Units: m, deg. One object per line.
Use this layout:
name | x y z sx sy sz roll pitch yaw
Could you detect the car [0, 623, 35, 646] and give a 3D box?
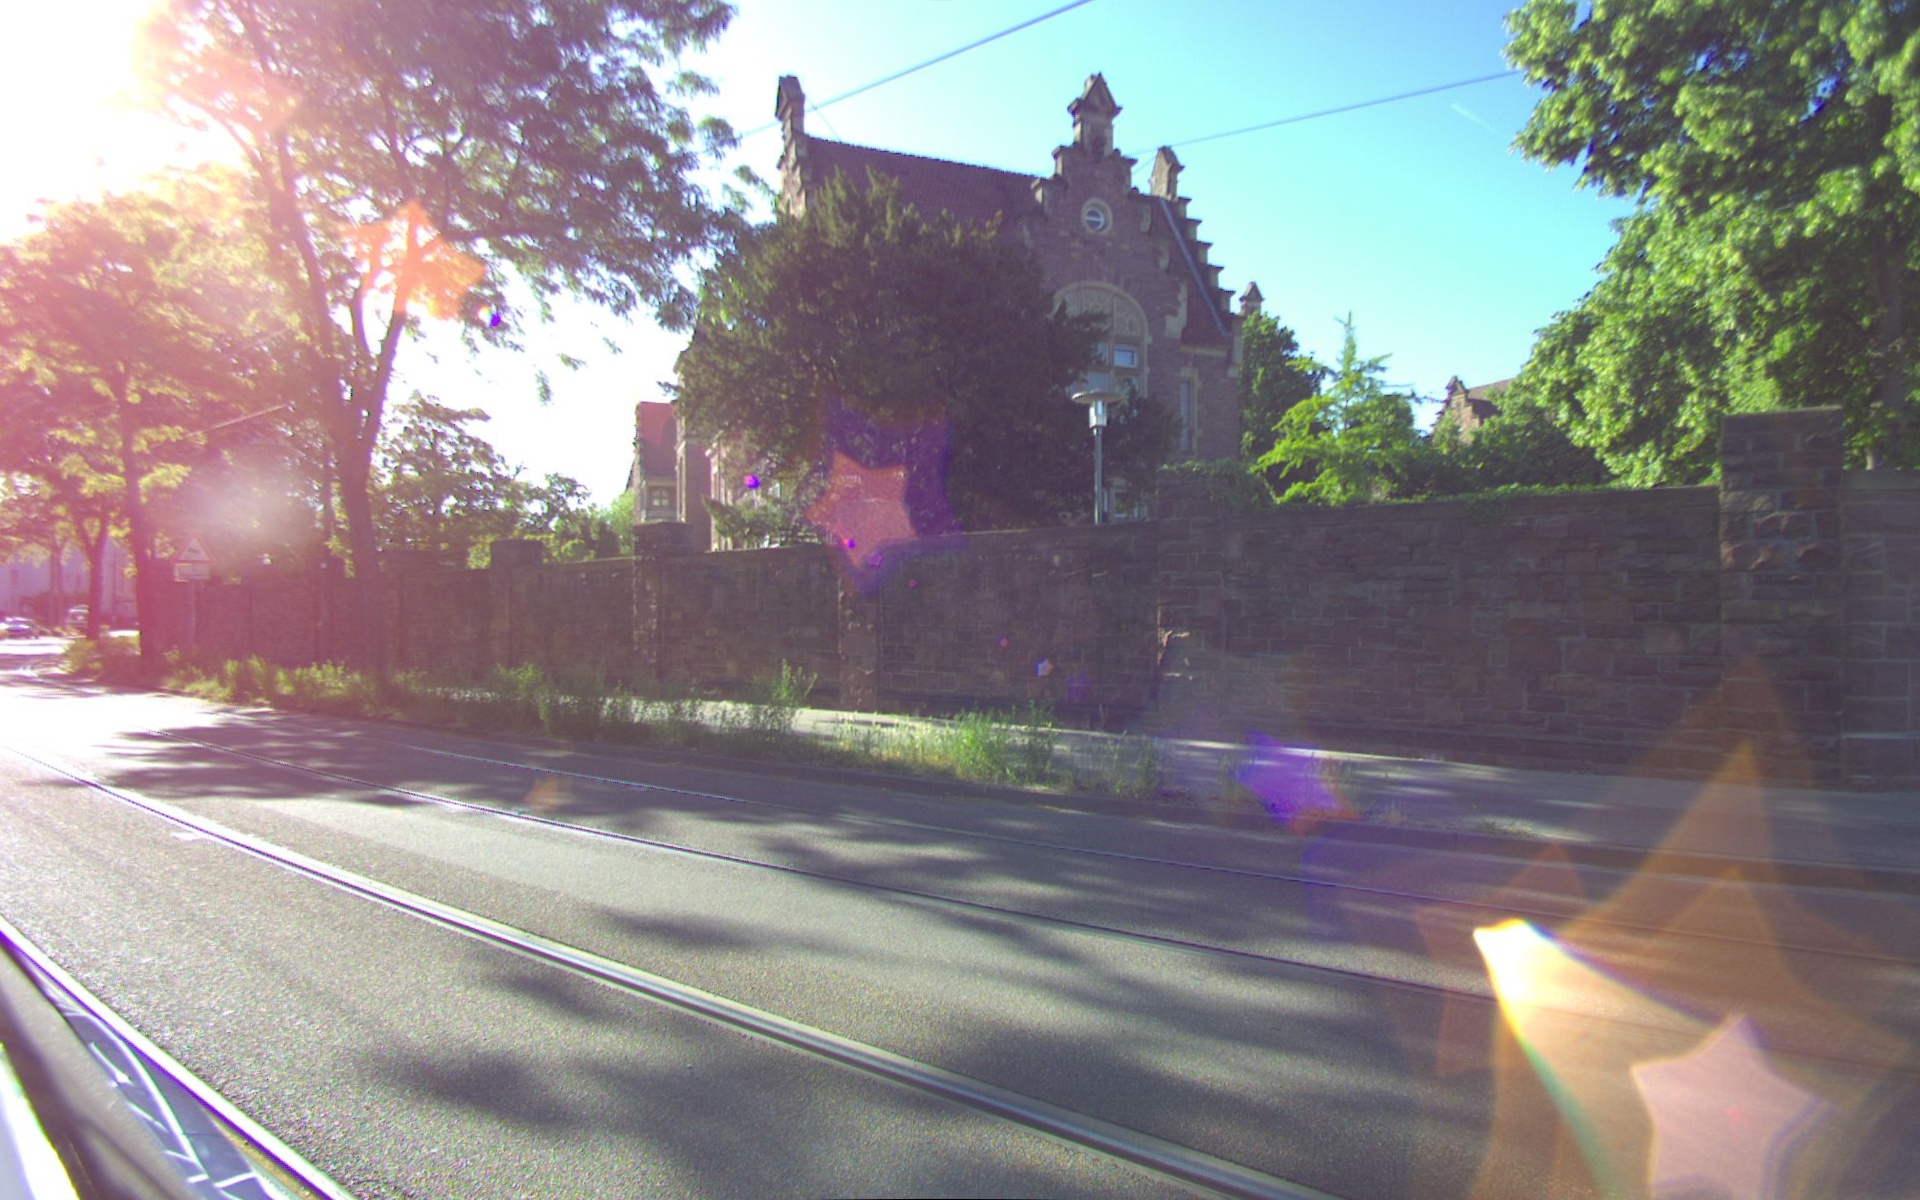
car | -68.903 2.496 73.846 1.969 1.560 4.005 0 -1 -41
